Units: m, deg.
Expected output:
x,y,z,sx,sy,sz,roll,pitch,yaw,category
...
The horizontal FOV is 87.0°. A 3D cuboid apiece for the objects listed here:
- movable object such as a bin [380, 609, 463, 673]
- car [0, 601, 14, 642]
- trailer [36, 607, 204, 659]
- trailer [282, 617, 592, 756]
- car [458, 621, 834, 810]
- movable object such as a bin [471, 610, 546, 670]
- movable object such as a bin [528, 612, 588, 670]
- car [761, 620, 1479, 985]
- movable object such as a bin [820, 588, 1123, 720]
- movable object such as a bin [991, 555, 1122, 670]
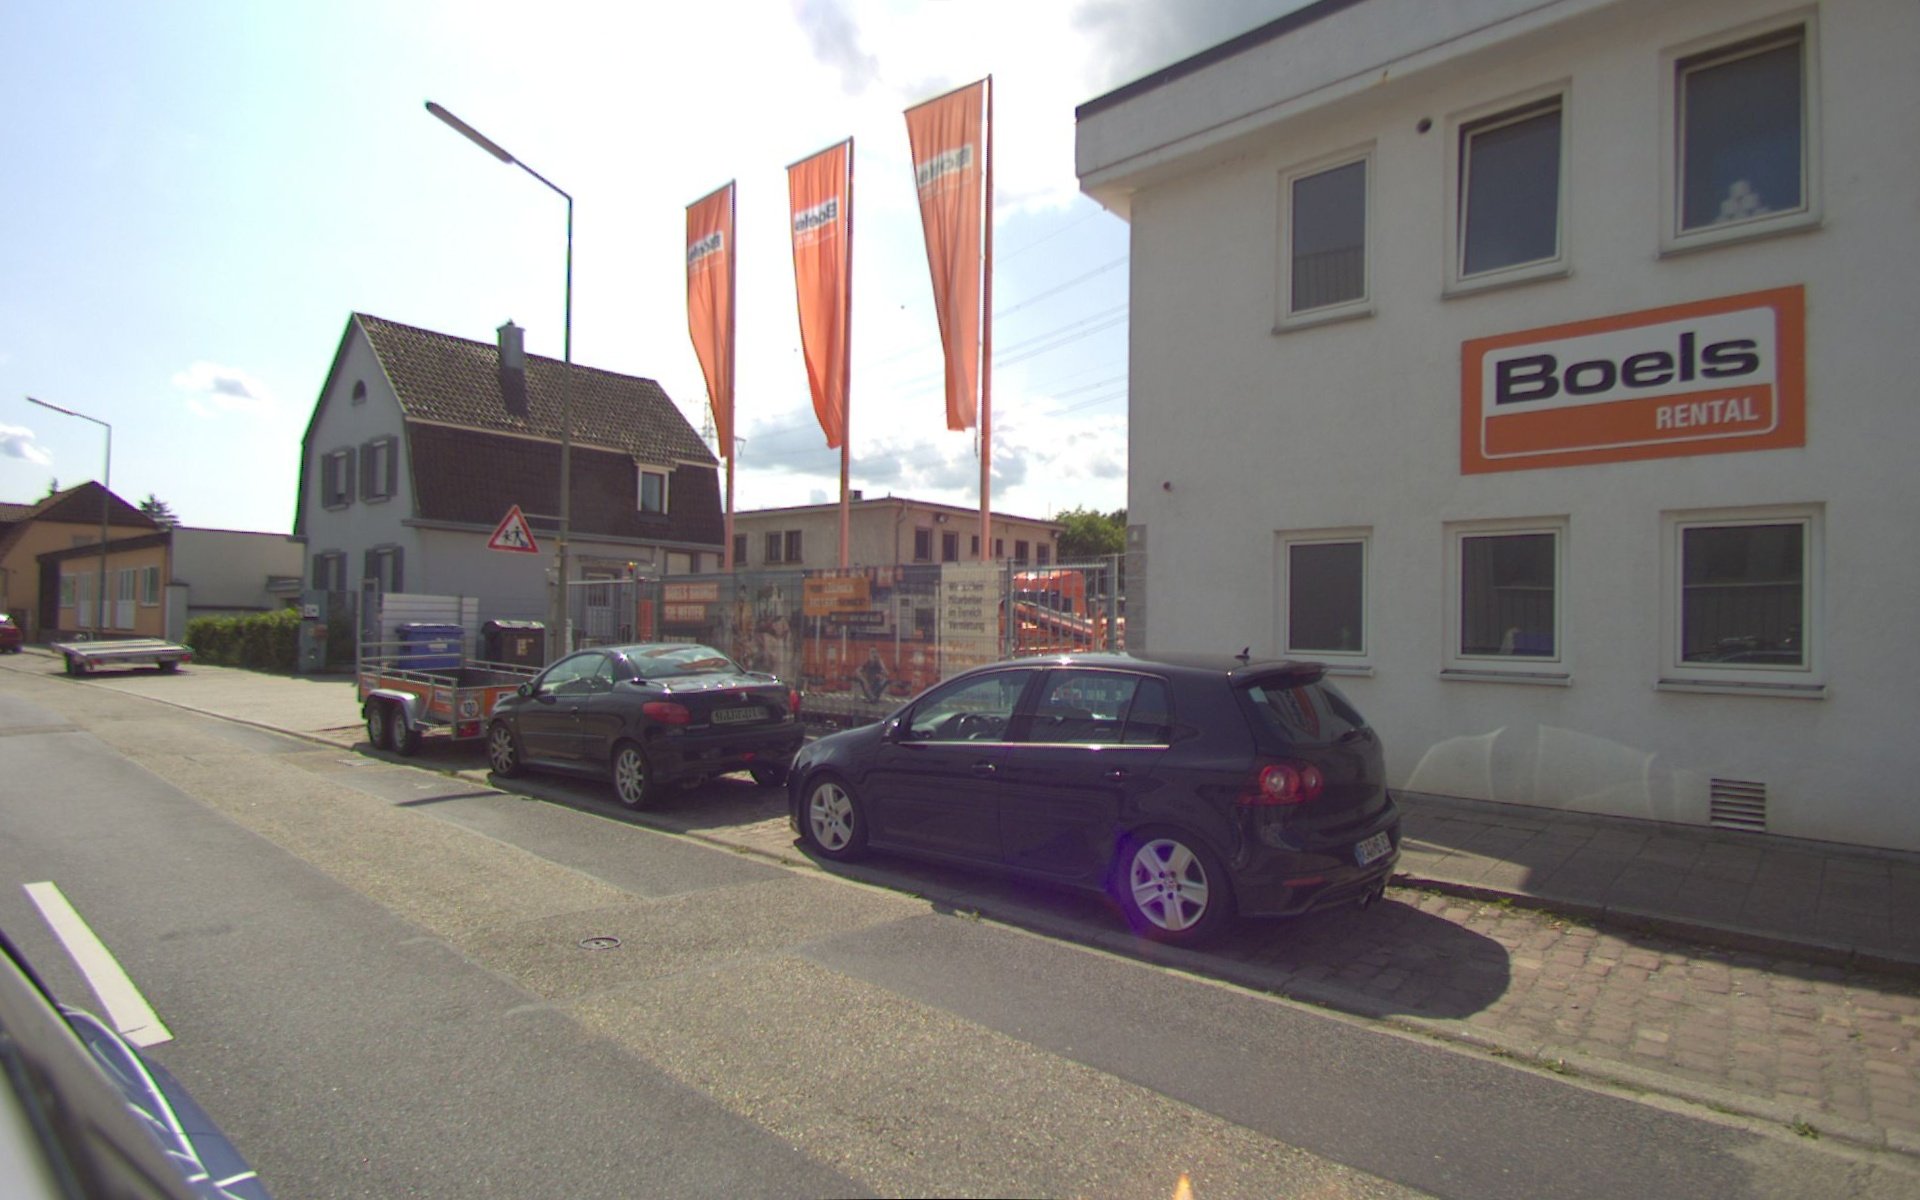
x,y,z,sx,sy,sz,roll,pitch,yaw,category
-12.619,0.954,23.747,1.186,1.438,1.303,0,-2,37,movable object such as a bin
-36.325,0.781,37.271,4.627,1.478,1.693,0,1,41,car
-21.874,0.783,26.248,6.050,1.173,2.425,0,0,41,trailer
-6.838,0.943,12.937,5.047,1.387,1.749,0,0,40,trailer
-3.147,0.938,9.769,3.881,1.387,1.656,0,0,40,car
-11.315,1.006,25.379,1.150,1.438,1.303,0,-2,37,movable object such as a bin
-10.442,1.064,26.308,1.003,1.454,1.076,0,-2,39,movable object such as a bin
0.729,0.900,6.319,4.222,1.466,1.656,0,0,41,car
0.607,0.873,19.081,1.901,2.020,7.534,0,-1,34,movable object such as a bin
3.441,0.467,35.583,2.914,3.764,3.950,0,-2,37,movable object such as a bin
